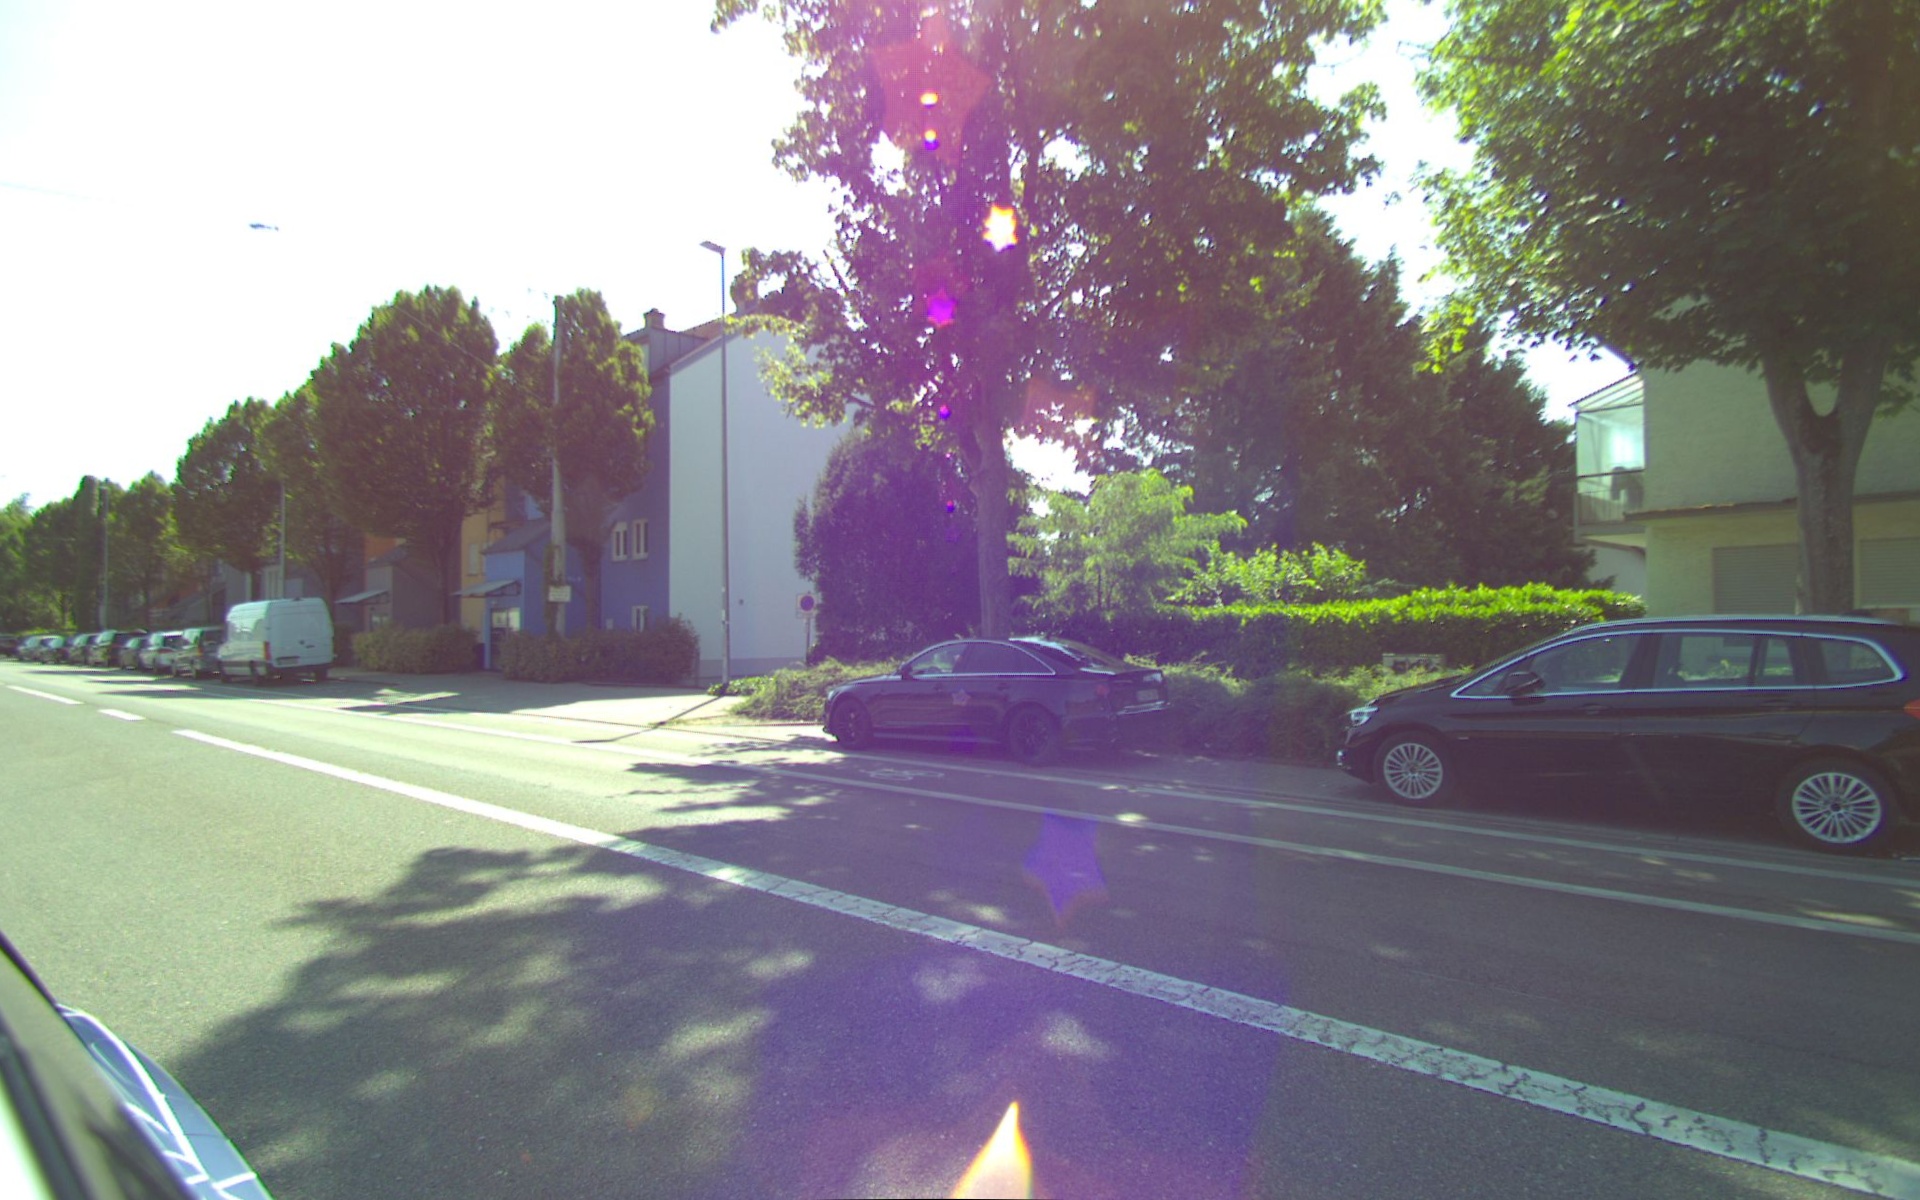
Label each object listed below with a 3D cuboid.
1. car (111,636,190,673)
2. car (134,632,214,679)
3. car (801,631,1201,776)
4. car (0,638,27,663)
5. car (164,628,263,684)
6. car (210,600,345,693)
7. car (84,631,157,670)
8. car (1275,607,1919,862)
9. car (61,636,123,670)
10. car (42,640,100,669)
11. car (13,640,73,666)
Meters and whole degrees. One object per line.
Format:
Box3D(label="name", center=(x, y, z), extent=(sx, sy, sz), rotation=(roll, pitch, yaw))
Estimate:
Box3D(label="car", center=(-36.783, 2.449, 45.967), extent=(4.070, 1.466, 1.849), rotation=(-2, 1, 38))
Box3D(label="car", center=(-32.839, 2.284, 42.243), extent=(4.539, 1.715, 1.829), rotation=(-1, 2, 42))
Box3D(label="car", center=(0.350, 1.147, 12.684), extent=(4.904, 1.477, 1.822), rotation=(-2, -2, 38))
Box3D(label="car", center=(-63.951, 3.330, 67.245), extent=(4.920, 1.588, 1.888), rotation=(-1, 0, 35))
Box3D(label="car", center=(-28.592, 2.100, 38.701), extent=(4.965, 1.879, 1.973), rotation=(-2, 2, 42))
Box3D(label="car", center=(-22.594, 1.473, 33.335), extent=(7.085, 2.697, 1.972), rotation=(-2, 1, 43))
Box3D(label="car", center=(-40.754, 2.422, 49.097), extent=(4.344, 1.741, 1.812), rotation=(-2, 0, 38))
Box3D(label="car", center=(5.316, 0.911, 8.349), extent=(4.891, 1.618, 1.743), rotation=(-2, -2, 41))
Box3D(label="car", center=(-44.937, 2.719, 52.381), extent=(4.160, 1.619, 1.661), rotation=(-2, -1, 38))
Box3D(label="car", center=(-49.567, 2.997, 56.397), extent=(4.208, 1.481, 1.661), rotation=(-2, 0, 38))
Box3D(label="car", center=(-55.008, 3.151, 60.682), extent=(4.827, 1.457, 1.662), rotation=(-1, 0, 35))
